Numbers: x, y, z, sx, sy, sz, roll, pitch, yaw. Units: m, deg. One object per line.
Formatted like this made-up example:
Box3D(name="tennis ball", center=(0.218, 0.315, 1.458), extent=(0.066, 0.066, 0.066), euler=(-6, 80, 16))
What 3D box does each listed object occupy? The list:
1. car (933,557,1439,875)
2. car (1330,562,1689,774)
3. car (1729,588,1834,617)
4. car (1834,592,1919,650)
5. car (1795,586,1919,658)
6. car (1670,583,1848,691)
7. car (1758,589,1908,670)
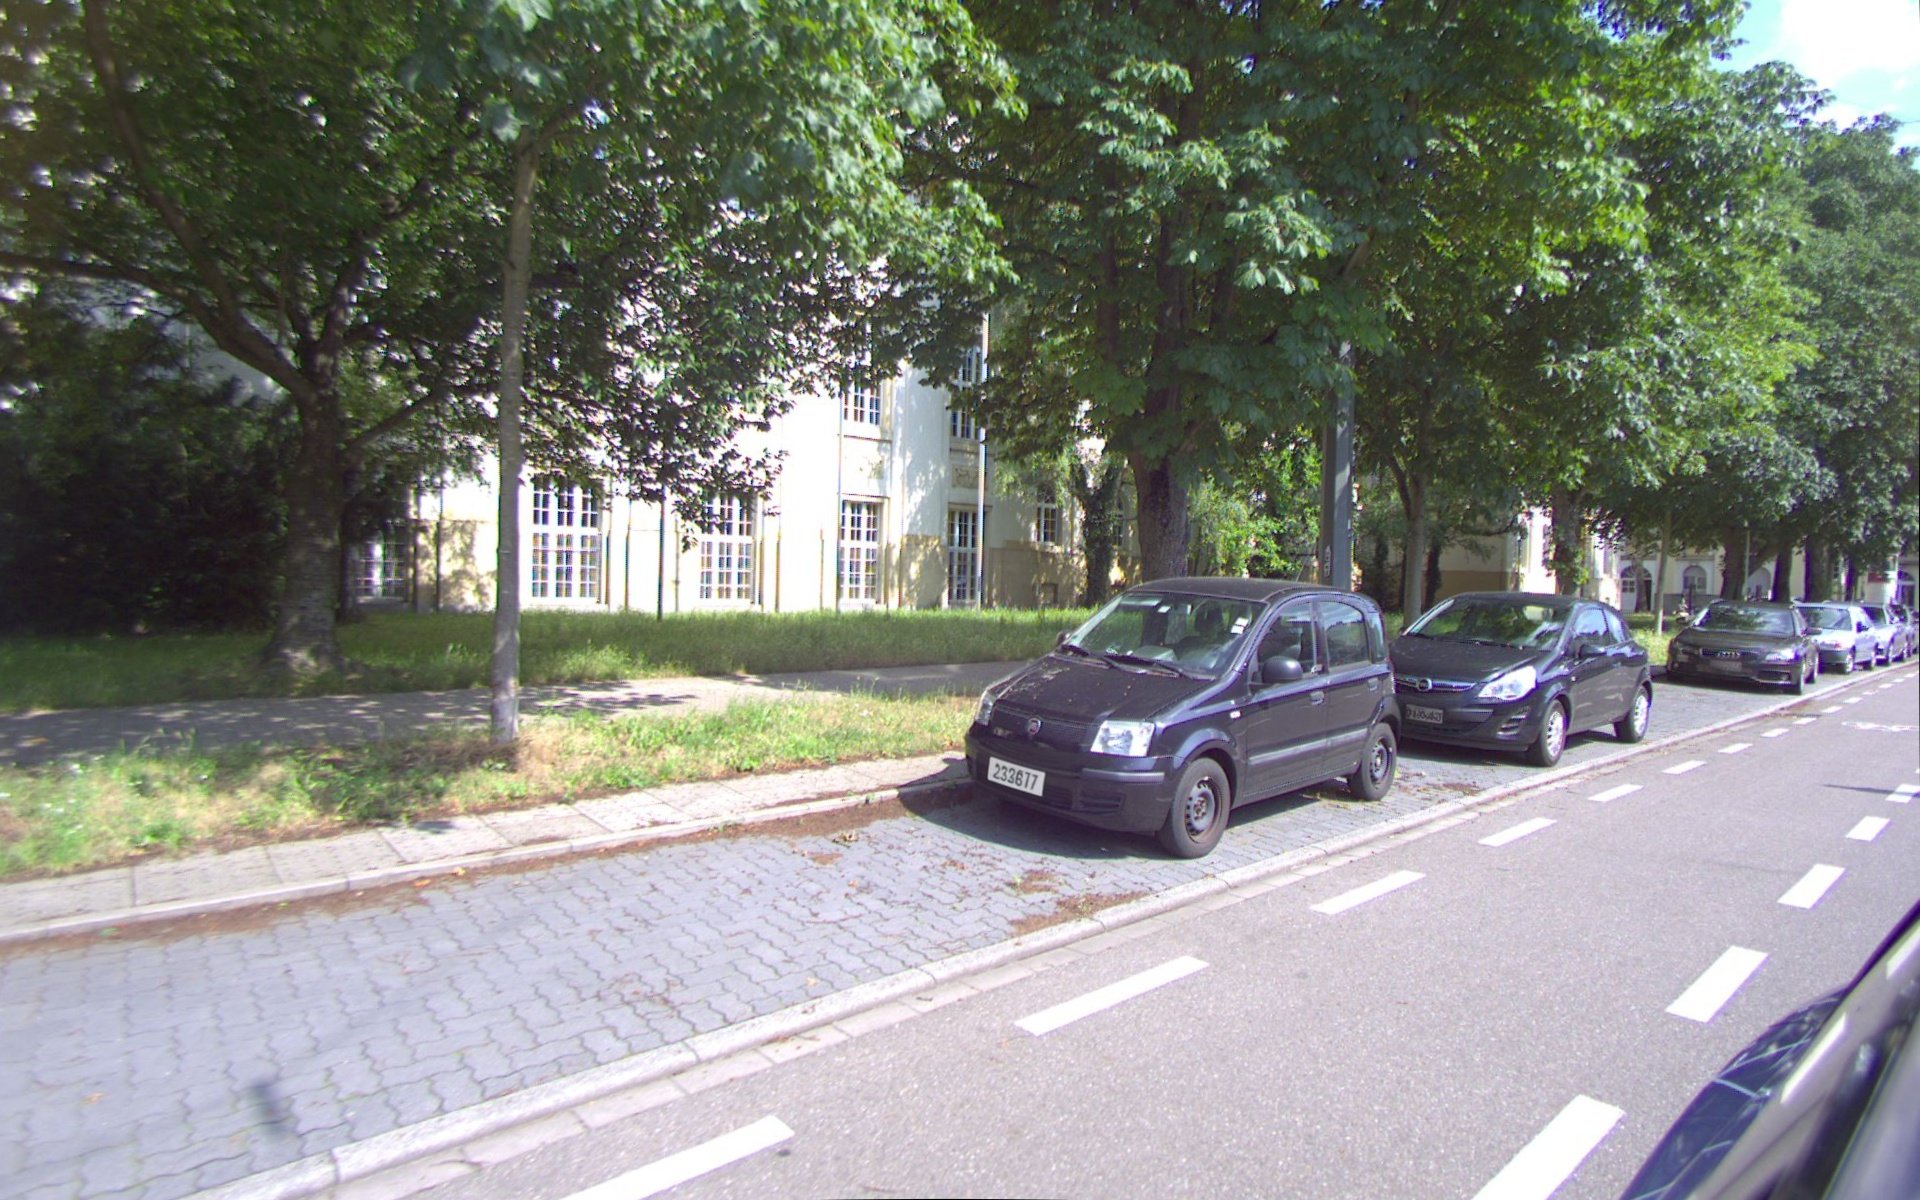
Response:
Box3D(name="car", center=(1.662, 0.521, 6.764), extent=(3.500, 1.478, 1.558), euler=(-1, 6, -44))
Box3D(name="car", center=(5.578, 0.512, 10.039), extent=(4.233, 1.580, 1.695), euler=(0, 5, -42))
Box3D(name="car", center=(51.994, 0.110, 64.190), extent=(1.820, 1.676, 4.841), euler=(-1, 2, -31))
Box3D(name="car", center=(26.867, 0.556, 29.258), extent=(4.578, 1.417, 1.832), euler=(0, 5, -43))
Box3D(name="car", center=(22.280, 0.498, 24.902), extent=(4.961, 1.458, 1.833), euler=(0, 5, -41))
Box3D(name="car", center=(14.043, 0.528, 17.673), extent=(1.833, 1.484, 4.753), euler=(6, 5, 45))
Box3D(name="car", center=(18.522, 0.580, 21.420), extent=(3.942, 1.448, 1.641), euler=(1, 4, -39))
